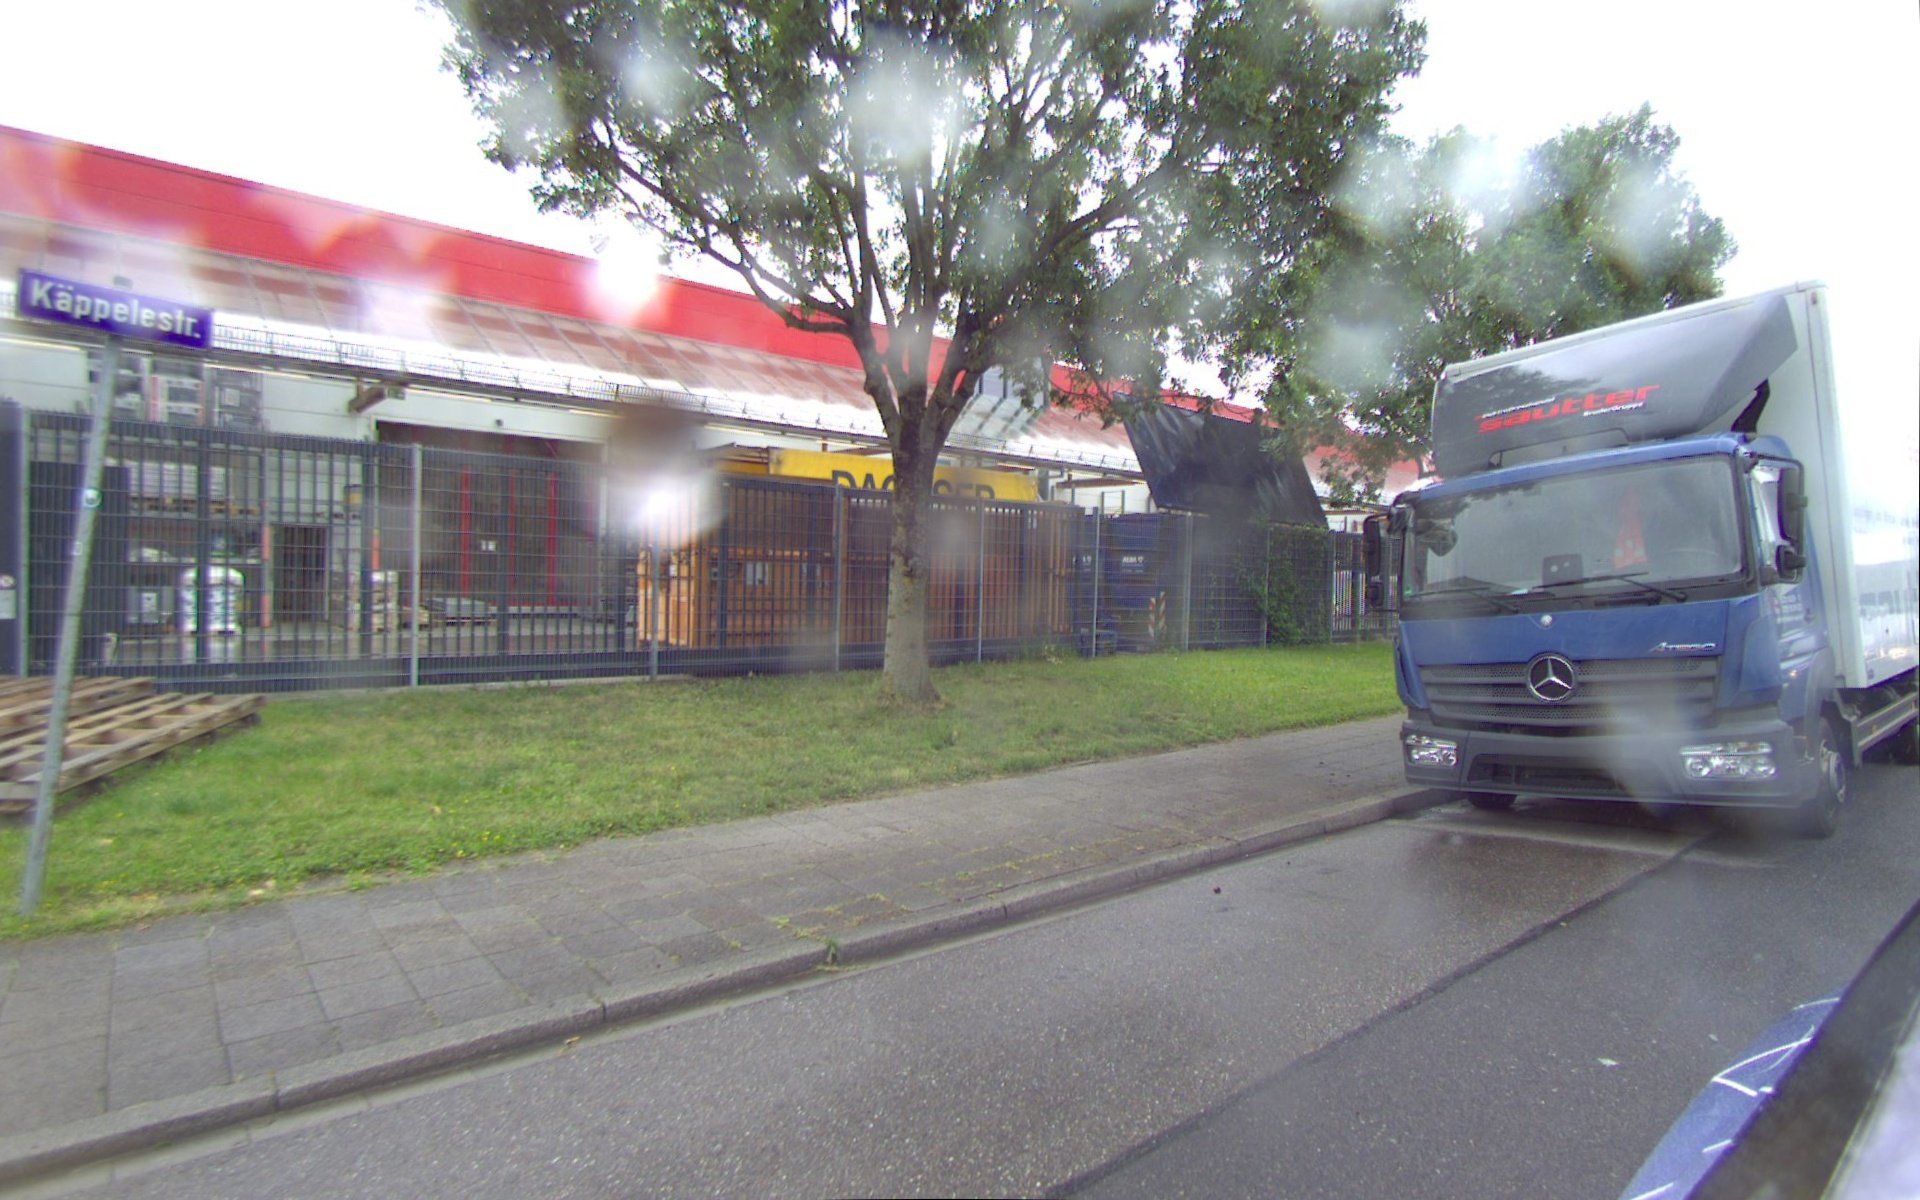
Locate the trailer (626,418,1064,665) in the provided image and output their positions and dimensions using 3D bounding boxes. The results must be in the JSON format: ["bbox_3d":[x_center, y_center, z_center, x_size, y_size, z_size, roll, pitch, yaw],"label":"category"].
[{"bbox_3d":[-2.073,-1.162,21.786,9.306,4.295,2.973,-2,2,-41],"label":"trailer"}]

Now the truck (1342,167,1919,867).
[{"bbox_3d":[6.715,-0.441,8.964,7.867,3.739,2.676,0,-1,-40],"label":"truck"}]
